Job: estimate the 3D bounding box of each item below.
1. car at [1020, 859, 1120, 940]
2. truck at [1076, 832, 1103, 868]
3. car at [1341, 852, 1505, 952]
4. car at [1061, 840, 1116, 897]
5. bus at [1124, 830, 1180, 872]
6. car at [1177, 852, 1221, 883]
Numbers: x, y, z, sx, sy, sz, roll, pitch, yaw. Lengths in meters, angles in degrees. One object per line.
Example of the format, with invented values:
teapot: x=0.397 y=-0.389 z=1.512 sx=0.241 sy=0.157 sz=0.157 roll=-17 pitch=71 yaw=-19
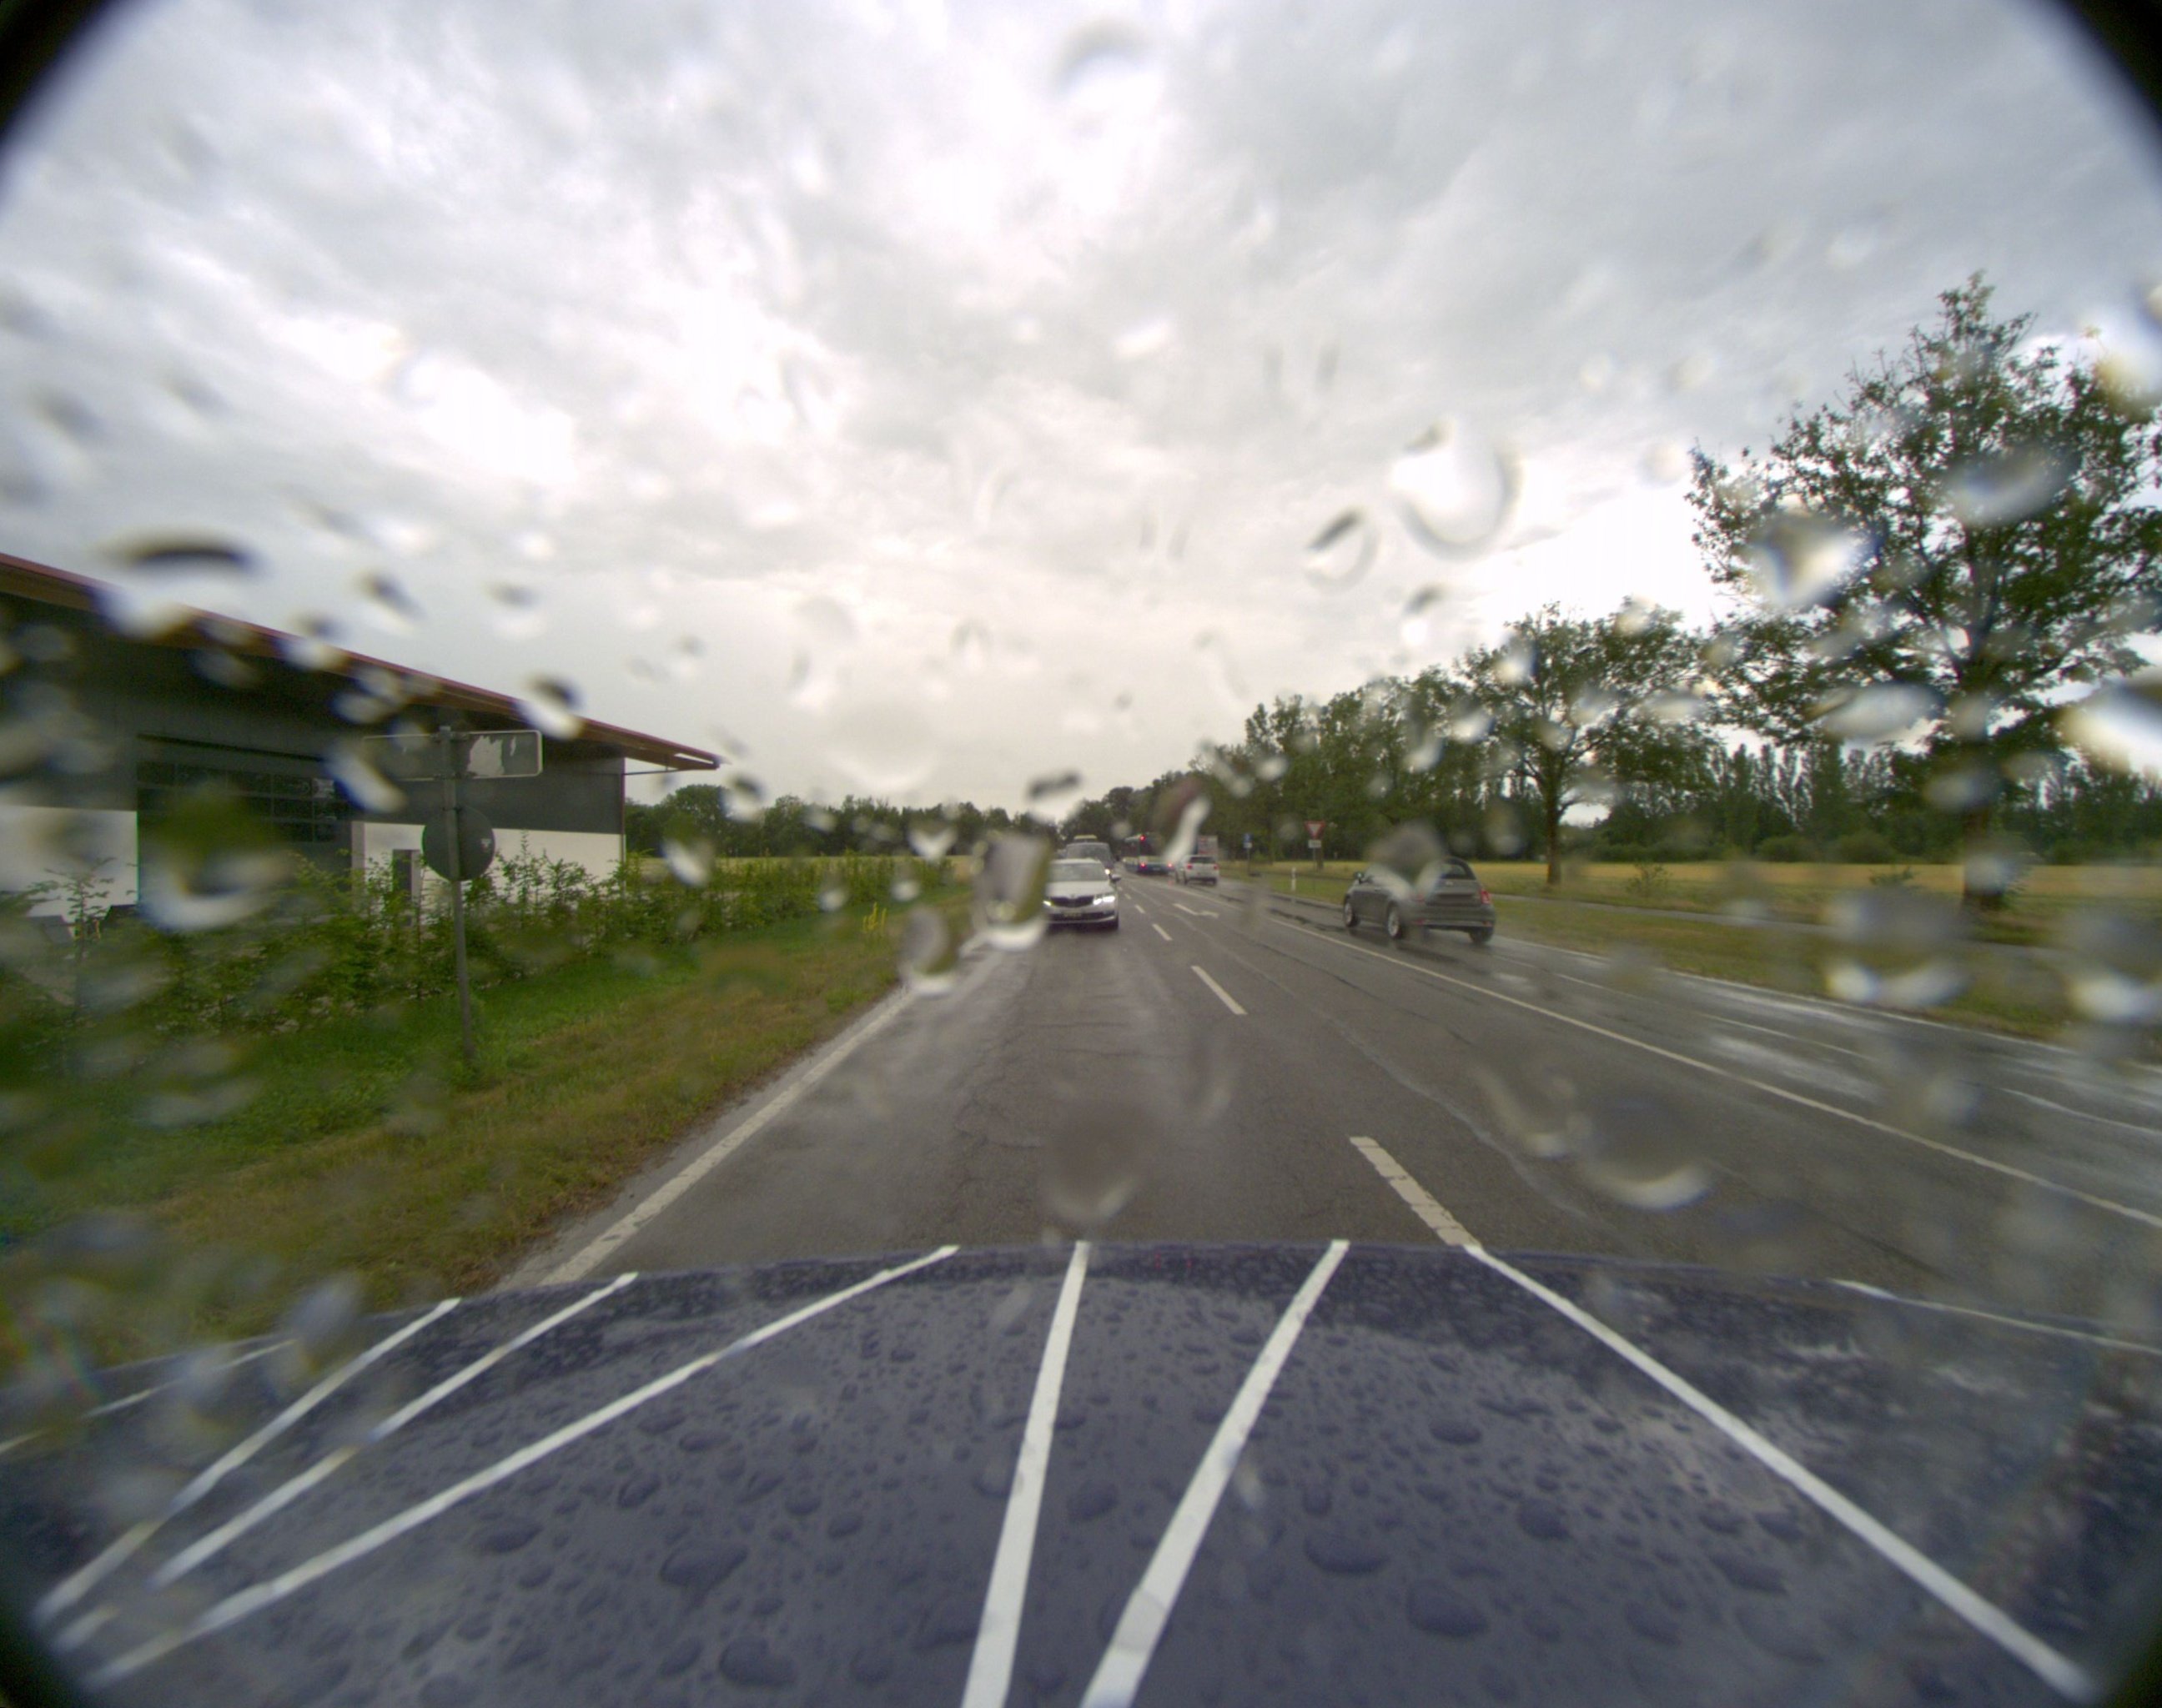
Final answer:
car: x=-0.193 y=0.875 z=16.590 sx=1.843 sy=1.379 sz=4.568 roll=-2 pitch=1 yaw=0
truck: x=0.956 y=-0.450 z=88.423 sx=2.931 sy=3.828 sz=14.119 roll=0 pitch=0 yaw=0
car: x=6.000 y=0.761 z=13.751 sx=1.504 sy=1.521 sz=3.301 roll=2 pitch=1 yaw=2
car: x=0.283 y=0.483 z=28.043 sx=1.892 sy=1.939 sz=3.999 roll=0 pitch=1 yaw=0
bus: x=5.236 y=-0.278 z=58.157 sx=2.958 sy=2.895 sz=12.472 roll=1 pitch=1 yaw=-1
car: x=5.903 y=0.663 z=38.307 sx=1.672 sy=1.442 sz=3.461 roll=2 pitch=0 yaw=0
